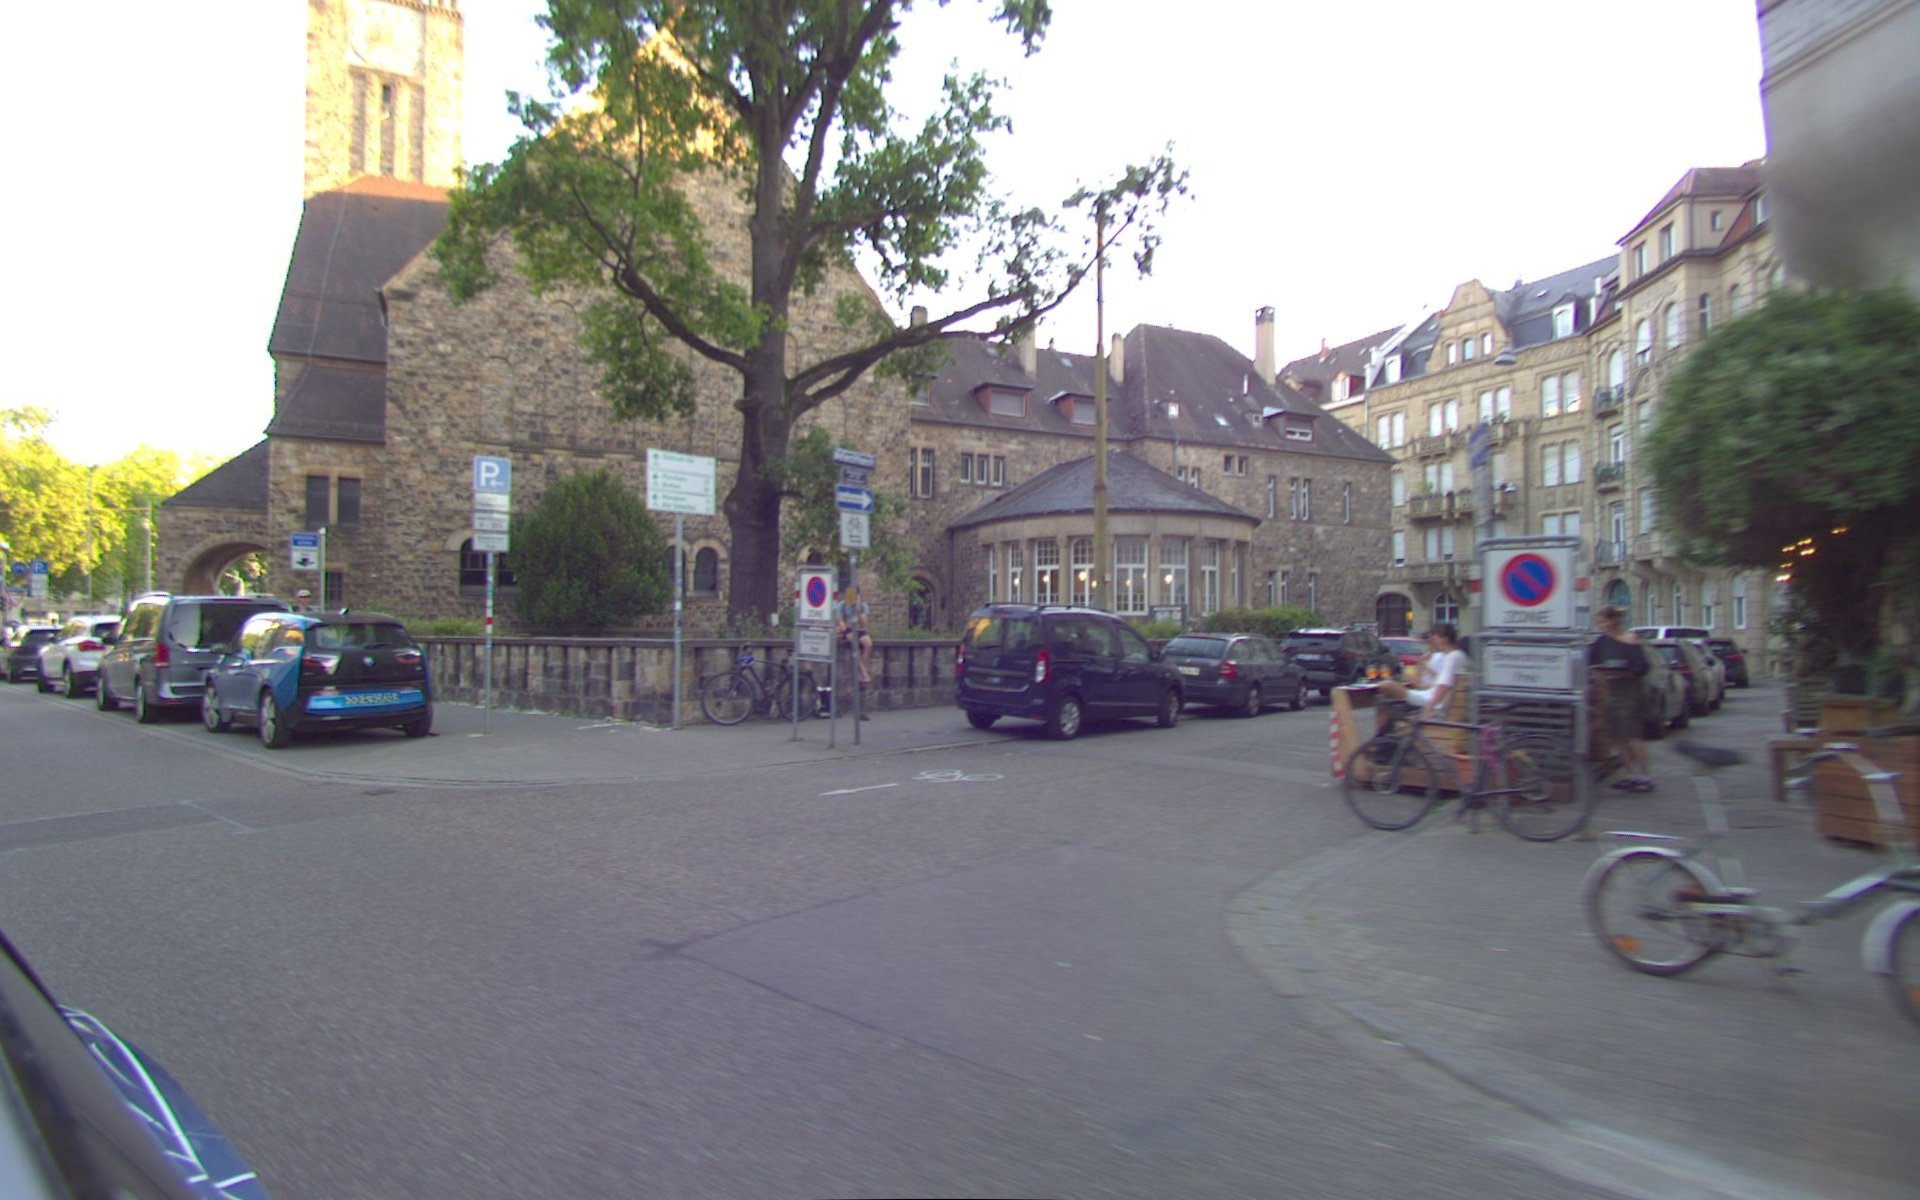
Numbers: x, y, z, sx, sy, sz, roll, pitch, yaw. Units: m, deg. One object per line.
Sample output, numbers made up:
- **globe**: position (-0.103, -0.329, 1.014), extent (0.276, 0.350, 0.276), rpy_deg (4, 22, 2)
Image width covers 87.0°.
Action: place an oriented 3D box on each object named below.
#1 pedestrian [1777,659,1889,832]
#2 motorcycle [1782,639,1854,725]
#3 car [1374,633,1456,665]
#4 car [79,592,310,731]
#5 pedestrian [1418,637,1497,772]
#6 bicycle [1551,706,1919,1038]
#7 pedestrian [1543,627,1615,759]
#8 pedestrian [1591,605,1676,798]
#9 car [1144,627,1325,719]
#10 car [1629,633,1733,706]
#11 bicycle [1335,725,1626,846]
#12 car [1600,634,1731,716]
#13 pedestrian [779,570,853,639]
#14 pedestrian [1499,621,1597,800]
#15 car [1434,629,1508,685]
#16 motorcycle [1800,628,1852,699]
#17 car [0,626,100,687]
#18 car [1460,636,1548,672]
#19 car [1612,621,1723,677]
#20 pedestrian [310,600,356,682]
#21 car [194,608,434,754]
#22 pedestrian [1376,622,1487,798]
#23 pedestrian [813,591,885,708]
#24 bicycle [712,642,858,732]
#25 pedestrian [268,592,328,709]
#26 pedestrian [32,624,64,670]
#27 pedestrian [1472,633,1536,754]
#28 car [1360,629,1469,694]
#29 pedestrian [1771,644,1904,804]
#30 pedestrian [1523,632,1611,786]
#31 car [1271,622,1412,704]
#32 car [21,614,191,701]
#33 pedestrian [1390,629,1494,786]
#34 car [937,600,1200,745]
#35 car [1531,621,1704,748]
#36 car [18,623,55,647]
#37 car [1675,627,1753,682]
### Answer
- **pedestrian**: position (6.660, 1.076, 7.737), extent (0.606, 1.224, 0.525), rpy_deg (-2, -3, 41)
- **motorcycle**: position (14.285, 1.293, 16.843), extent (0.818, 1.290, 3.364), rpy_deg (-2, -3, 41)
- **car**: position (25.217, 2.686, 56.188), extent (1.756, 1.752, 4.013), rpy_deg (1, -2, -23)
- **car**: position (-12.404, 0.912, 16.246), extent (5.288, 1.881, 1.972), rpy_deg (-2, -2, 42)
- **pedestrian**: position (5.491, 1.124, 11.176), extent (0.644, 1.422, 0.566), rpy_deg (-2, -3, 41)
- **bicycle**: position (3.162, 0.938, 3.652), extent (0.417, 1.020, 1.722), rpy_deg (1, -3, -36)
- **pedestrian**: position (7.357, 1.079, 12.032), extent (0.644, 1.512, 0.566), rpy_deg (-2, -3, 39)
- **pedestrian**: position (5.988, 0.874, 8.995), extent (0.545, 1.633, 0.535), rpy_deg (-2, -3, 40)
- **car**: position (5.228, 1.281, 18.942), extent (1.719, 1.511, 4.157), rpy_deg (-2, -3, 39)
- **car**: position (17.561, 1.626, 24.575), extent (1.739, 1.559, 4.095), rpy_deg (1, -1, 40)
- **bicycle**: position (3.659, 1.282, 7.224), extent (1.776, 0.701, 0.419), rpy_deg (-4, -4, 38)
- **car**: position (14.014, 1.404, 20.016), extent (1.739, 1.440, 4.095), rpy_deg (-2, -3, 40)
- **pedestrian**: position (-2.128, 0.081, 14.950), extent (0.836, 0.988, 0.699), rpy_deg (-2, -3, 39)
- **pedestrian**: position (5.131, 0.929, 8.835), extent (0.644, 1.480, 0.566), rpy_deg (-2, -3, 39)
- **car**: position (15.399, 1.672, 30.451), extent (1.296, 1.583, 3.204), rpy_deg (-2, -3, 39)
- **motorcycle**: position (19.692, 1.397, 23.029), extent (0.818, 1.506, 3.364), rpy_deg (-2, -3, 41)
- **car**: position (-23.709, 1.398, 26.074), extent (4.314, 1.446, 1.764), rpy_deg (-2, -3, 42)
- **car**: position (27.441, 2.692, 51.199), extent (1.758, 1.752, 4.009), rpy_deg (0, -2, -11)
- **car**: position (26.351, 1.768, 37.924), extent (1.793, 1.874, 5.141), rpy_deg (2, -1, 16)
- **pedestrian**: position (-11.019, 0.710, 17.786), extent (0.659, 1.416, 0.526), rpy_deg (-2, -1, 41)
- **car**: position (-8.335, 0.928, 12.910), extent (4.003, 1.567, 1.623), rpy_deg (-2, -1, 43)
- **pedestrian**: position (4.418, 0.992, 9.474), extent (0.783, 1.552, 0.695), rpy_deg (-2, -3, 39)
- **pedestrian**: position (-1.699, 0.747, 15.498), extent (0.836, 1.734, 0.699), rpy_deg (-2, -3, 39)
- **bicycle**: position (-2.381, 1.156, 14.004), extent (0.555, 1.142, 2.117), rpy_deg (-2, -3, 41)
- **pedestrian**: position (-11.212, 0.840, 17.135), extent (0.802, 1.920, 0.576), rpy_deg (-2, -3, 37)
- **pedestrian**: position (-35.364, 1.822, 39.230), extent (0.689, 1.738, 0.709), rpy_deg (-1, -2, 31)
- **pedestrian**: position (6.819, 1.148, 12.688), extent (0.573, 1.458, 0.636), rpy_deg (-2, -3, 39)
- **car**: position (12.104, 1.565, 26.813), extent (1.632, 1.583, 3.984), rpy_deg (-2, -3, 39)
- **pedestrian**: position (7.228, 0.984, 8.357), extent (0.778, 1.224, 0.683), rpy_deg (-2, -3, 41)
- **pedestrian**: position (5.993, 1.047, 9.995), extent (0.644, 1.454, 0.566), rpy_deg (-2, -3, 41)
- **car**: position (8.676, 1.357, 22.822), extent (1.719, 1.665, 4.157), rpy_deg (-2, -3, 39)
- **car**: position (-17.694, 1.132, 20.897), extent (4.463, 1.604, 1.853), rpy_deg (-1, -3, 39)
- **pedestrian**: position (4.826, 1.038, 10.134), extent (0.783, 1.480, 0.695), rpy_deg (-2, -3, 39)
- **car**: position (1.715, 1.002, 15.065), extent (1.891, 1.858, 3.942), rpy_deg (-2, -3, 43)
- **car**: position (10.275, 1.204, 15.685), extent (1.739, 1.630, 4.095), rpy_deg (2, -1, 40)
- **car**: position (-80.000, 3.016, 87.707), extent (1.837, 2.029, 3.820), rpy_deg (2, -3, -35)
- **car**: position (23.770, 1.688, 31.847), extent (1.739, 1.559, 3.741), rpy_deg (1, -1, 40)
